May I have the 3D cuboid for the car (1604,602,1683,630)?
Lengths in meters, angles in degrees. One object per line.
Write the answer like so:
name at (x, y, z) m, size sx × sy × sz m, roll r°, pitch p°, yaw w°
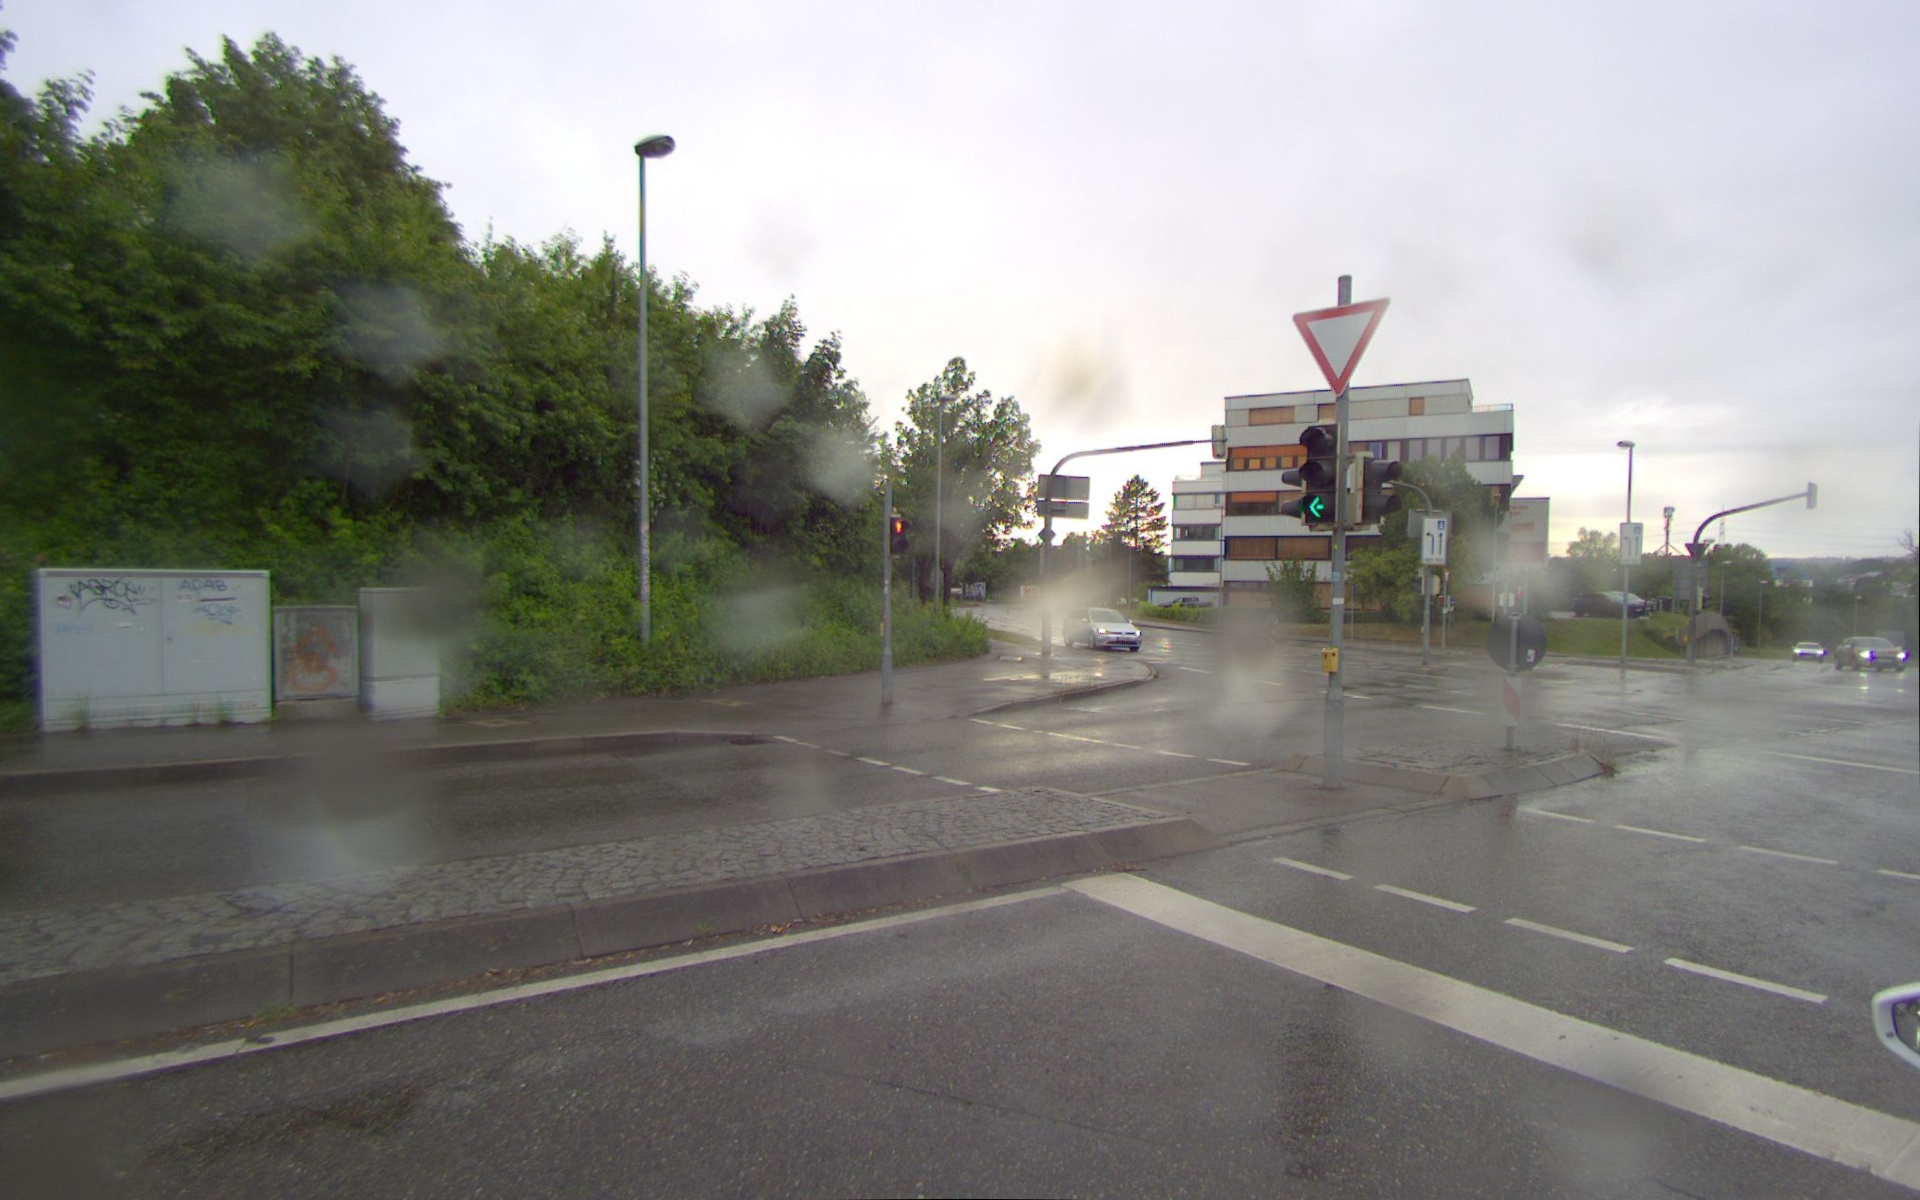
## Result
car at (45.324, 1.045, 66.694) m, size 1.872 × 1.607 × 3.985 m, roll 4°, pitch 0°, yaw -17°

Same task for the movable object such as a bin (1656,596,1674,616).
movable object such as a bin at (55.723, 0.491, 79.392) m, size 1.069 × 1.456 × 1.443 m, roll 3°, pitch 0°, yaw 34°

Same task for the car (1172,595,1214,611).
car at (22.314, 0.278, 96.270) m, size 3.686 × 1.418 × 2.000 m, roll 1°, pitch 1°, yaw 19°

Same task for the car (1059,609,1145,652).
car at (5.081, 1.070, 36.633) m, size 1.731 × 1.381 × 4.523 m, roll 2°, pitch 0°, yaw -11°

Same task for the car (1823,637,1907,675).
car at (40.510, 2.490, 45.060) m, size 1.635 × 1.514 × 3.997 m, roll 2°, pitch -1°, yaw 25°

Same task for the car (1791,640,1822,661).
car at (65.873, 3.925, 78.164) m, size 1.701 × 1.514 × 3.979 m, roll 2°, pitch -1°, yaw 42°

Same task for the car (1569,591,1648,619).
car at (42.435, 0.296, 65.812) m, size 1.874 × 1.607 × 3.980 m, roll 4°, pitch 0°, yaw -21°

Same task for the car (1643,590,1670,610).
car at (61.206, 0.016, 88.272) m, size 1.802 × 1.461 × 3.990 m, roll 3°, pitch -1°, yaw 33°
